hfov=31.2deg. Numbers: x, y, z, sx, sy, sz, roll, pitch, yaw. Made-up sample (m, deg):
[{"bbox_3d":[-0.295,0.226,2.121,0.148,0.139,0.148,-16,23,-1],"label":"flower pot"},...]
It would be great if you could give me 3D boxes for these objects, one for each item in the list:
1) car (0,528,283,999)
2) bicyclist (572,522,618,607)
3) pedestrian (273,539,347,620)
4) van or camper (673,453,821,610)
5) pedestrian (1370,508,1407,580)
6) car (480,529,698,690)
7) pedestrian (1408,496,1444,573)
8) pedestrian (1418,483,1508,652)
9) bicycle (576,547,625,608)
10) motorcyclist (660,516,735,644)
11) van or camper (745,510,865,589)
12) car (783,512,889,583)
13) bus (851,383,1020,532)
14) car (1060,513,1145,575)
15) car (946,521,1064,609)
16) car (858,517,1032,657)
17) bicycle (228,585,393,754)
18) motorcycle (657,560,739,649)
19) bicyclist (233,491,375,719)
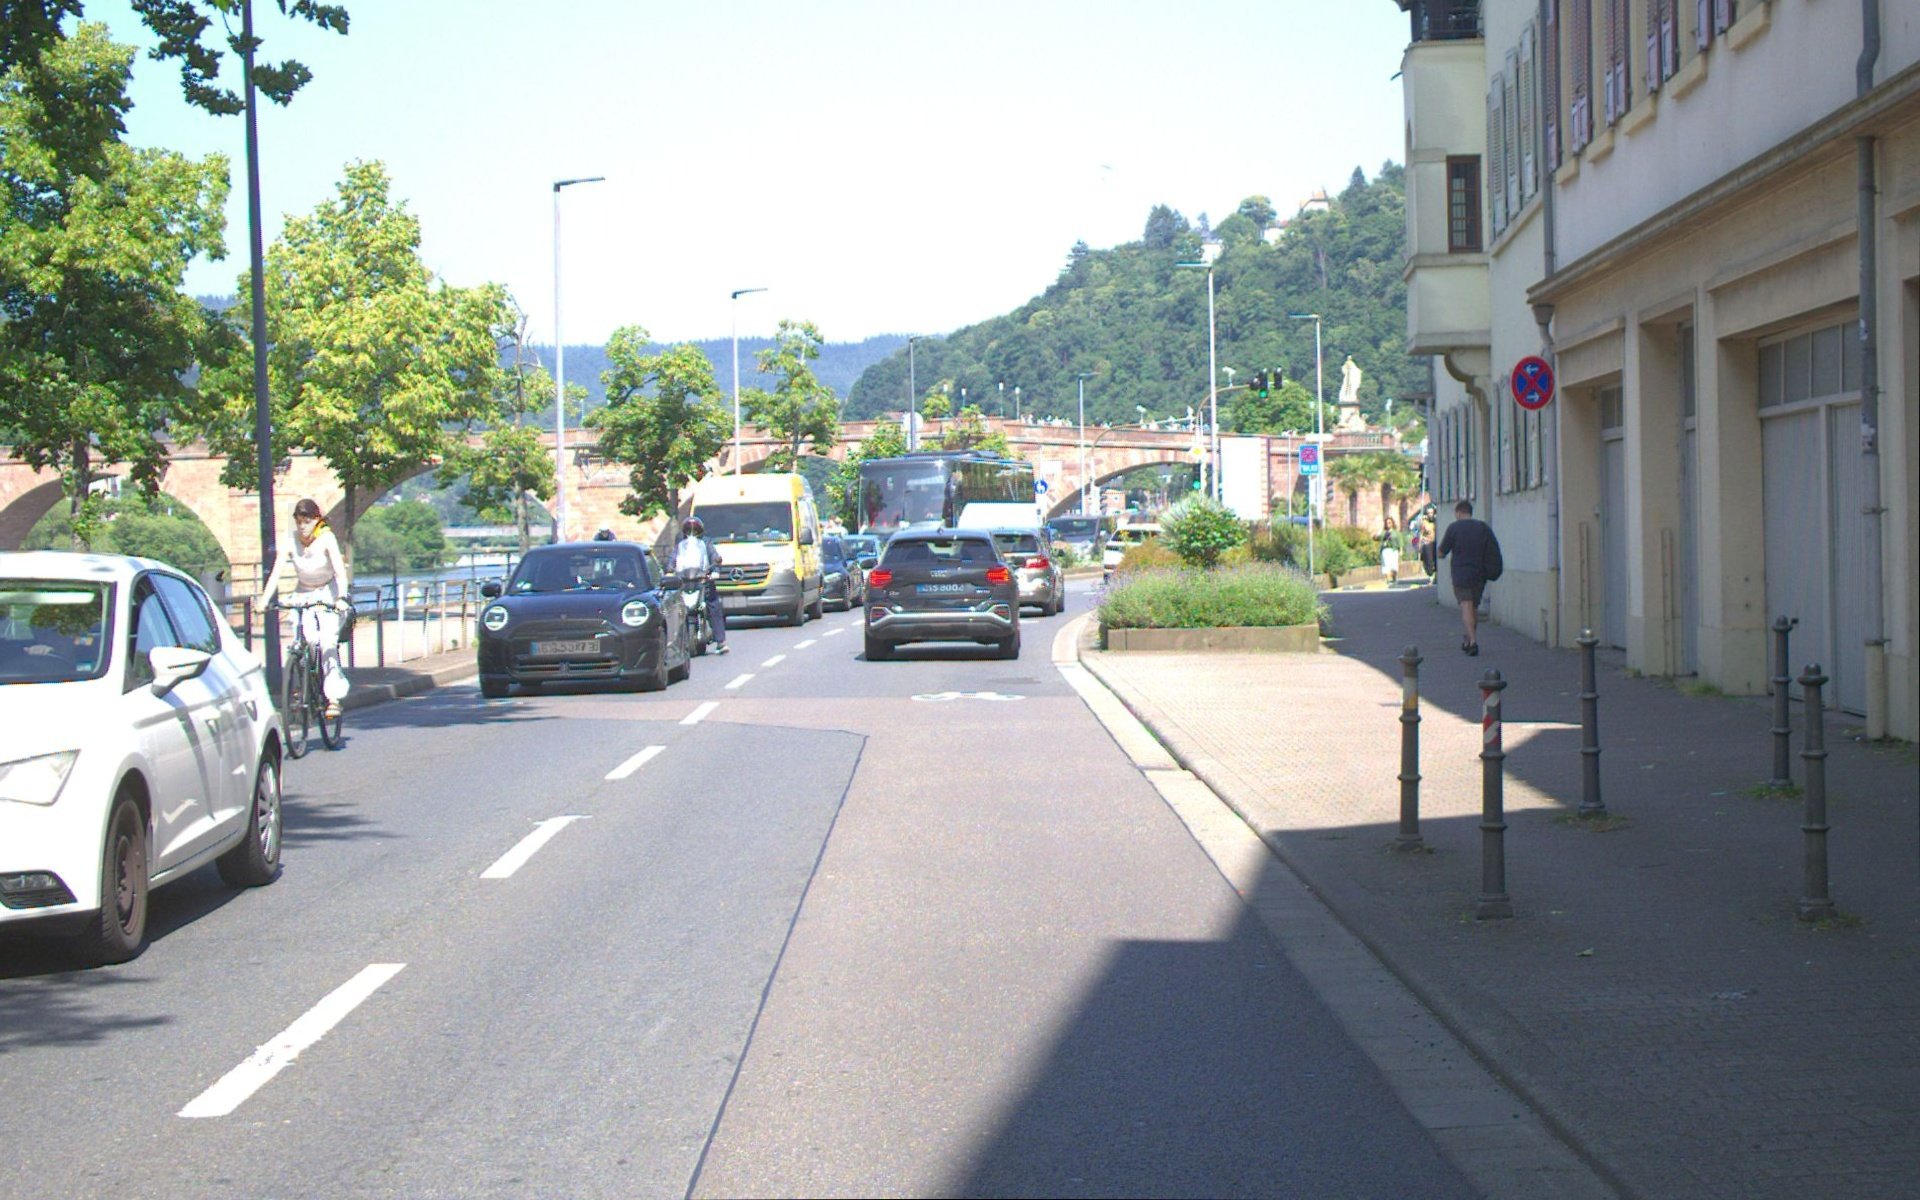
[{"bbox_3d":[-3.771,0.485,13.122,1.701,1.440,4.092,0,2,-2],"label":"car"},{"bbox_3d":[-7.196,-0.710,67.825,0.740,1.662,1.089,-1,2,1],"label":"bicyclist"},{"bbox_3d":[-10.446,-0.335,55.265,0.937,1.276,0.849,-1,1,8],"label":"pedestrian"},{"bbox_3d":[-3.610,-1.163,59.493,2.087,2.548,7.092,0,1,0],"label":"van or camper"},{"bbox_3d":[9.679,-1.277,77.608,0.762,1.589,0.696,-2,1,7],"label":"pedestrian"},{"bbox_3d":[-3.582,0.056,33.761,1.701,1.453,4.002,-1,1,0],"label":"car"},{"bbox_3d":[10.514,-1.487,77.549,0.738,1.693,0.933,-2,1,7],"label":"pedestrian"},{"bbox_3d":[5.250,-0.339,35.922,0.762,1.708,0.696,-3,0,3],"label":"pedestrian"},{"bbox_3d":[-7.063,-0.457,67.688,0.711,1.164,1.896,0,2,2],"label":"bicycle"},{"bbox_3d":[-3.301,-0.258,43.361,0.878,1.578,1.025,-1,1,-2],"label":"motorcyclist"},{"bbox_3d":[-3.061,-1.008,68.586,1.993,1.450,4.682,-2,1,2],"label":"van or camper"},{"bbox_3d":[-2.714,-1.186,76.191,1.814,1.423,4.310,-2,2,5],"label":"car"},{"bbox_3d":[-0.508,-3.728,93.432,2.632,3.552,12.979,-1,0,8],"label":"bus"},{"bbox_3d":[3.519,-1.386,84.188,1.927,1.456,4.831,0,1,4],"label":"car"},{"bbox_3d":[0.831,-0.640,59.997,1.926,1.456,4.832,-1,1,2],"label":"car"},{"bbox_3d":[-0.156,-0.205,40.938,1.926,1.548,4.832,1,1,0],"label":"car"},{"bbox_3d":[-4.508,0.463,23.986,0.740,1.073,1.953,1,2,1],"label":"bicycle"},{"bbox_3d":[-3.282,0.050,43.215,0.883,1.073,2.328,-1,0,-1],"label":"motorcycle"},{"bbox_3d":[-4.550,0.018,23.896,0.766,1.526,1.025,1,3,1],"label":"bicyclist"}]
